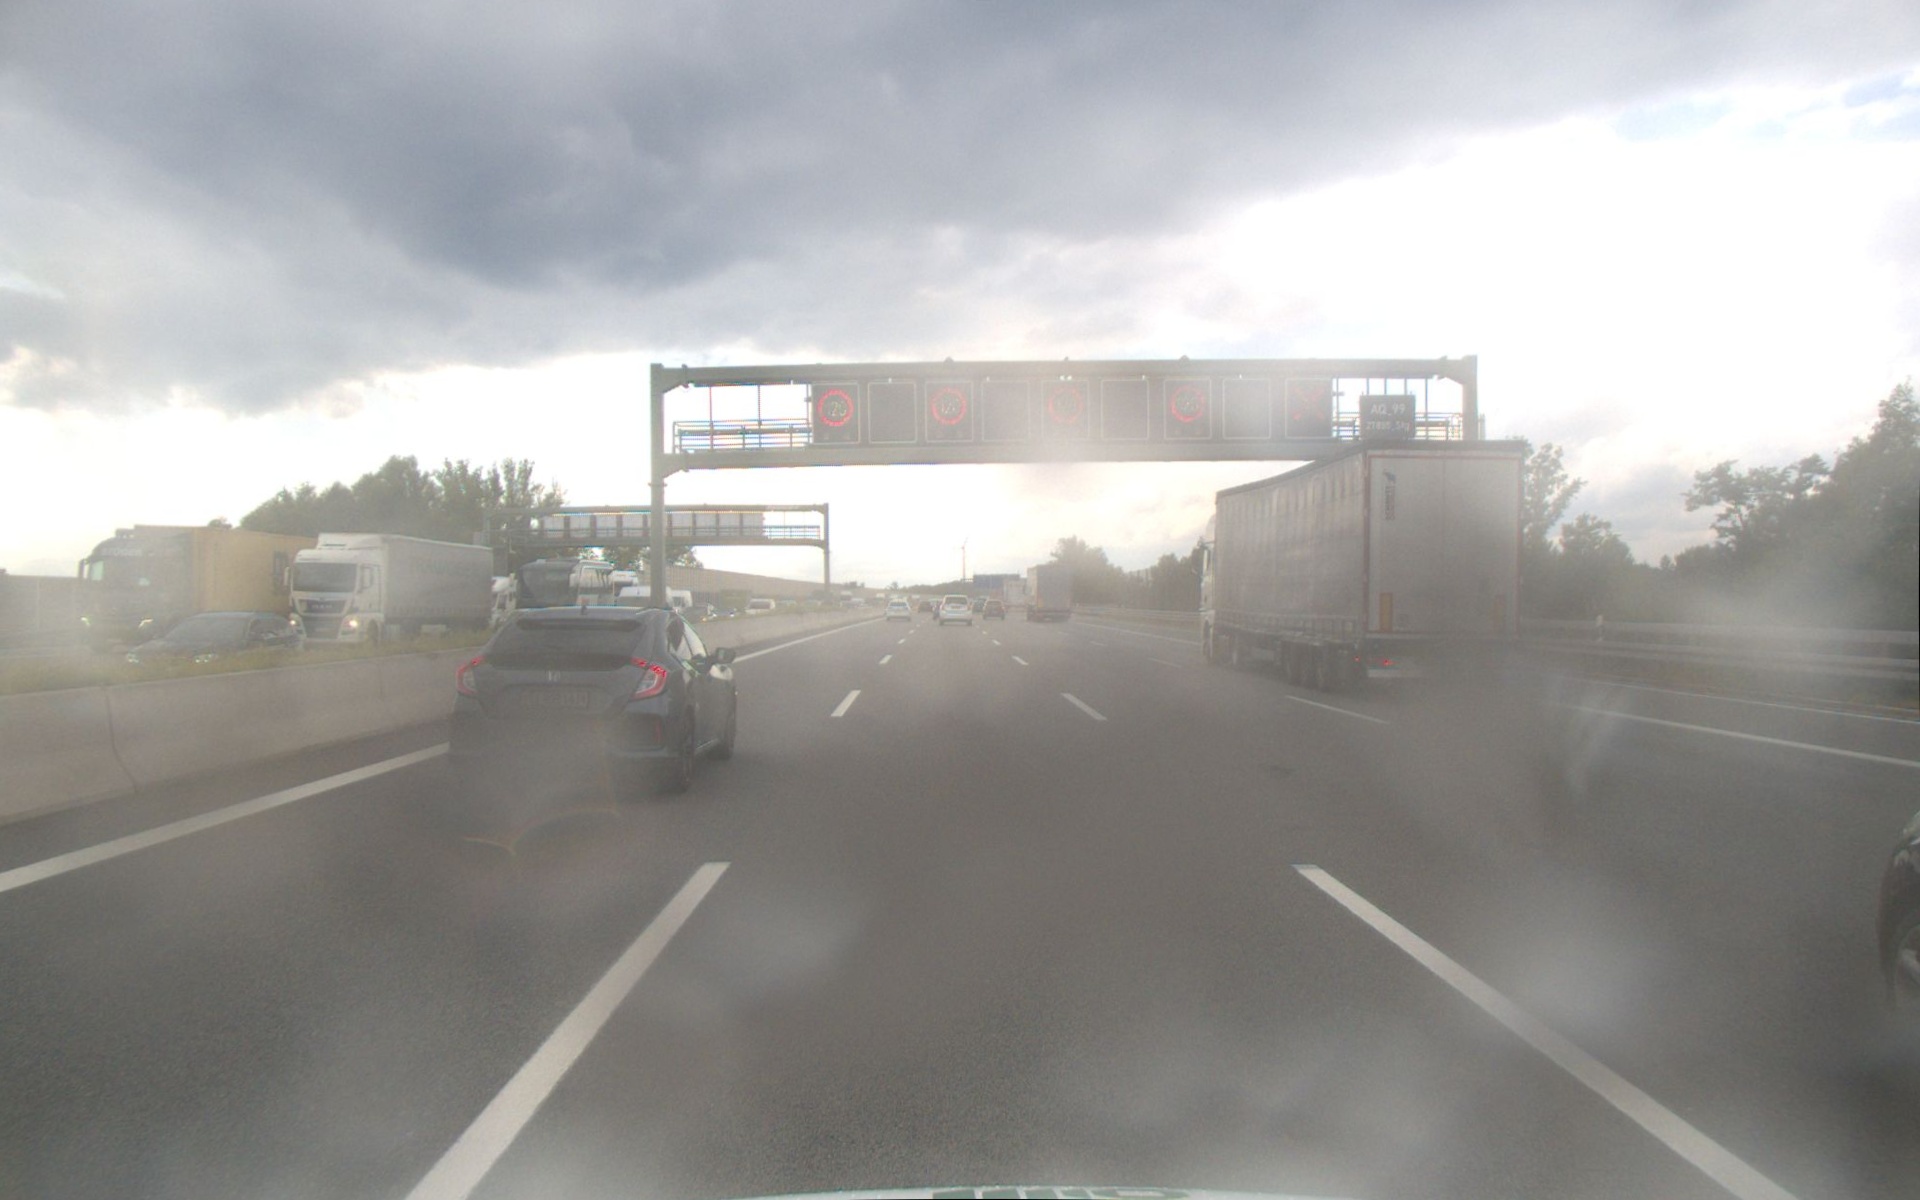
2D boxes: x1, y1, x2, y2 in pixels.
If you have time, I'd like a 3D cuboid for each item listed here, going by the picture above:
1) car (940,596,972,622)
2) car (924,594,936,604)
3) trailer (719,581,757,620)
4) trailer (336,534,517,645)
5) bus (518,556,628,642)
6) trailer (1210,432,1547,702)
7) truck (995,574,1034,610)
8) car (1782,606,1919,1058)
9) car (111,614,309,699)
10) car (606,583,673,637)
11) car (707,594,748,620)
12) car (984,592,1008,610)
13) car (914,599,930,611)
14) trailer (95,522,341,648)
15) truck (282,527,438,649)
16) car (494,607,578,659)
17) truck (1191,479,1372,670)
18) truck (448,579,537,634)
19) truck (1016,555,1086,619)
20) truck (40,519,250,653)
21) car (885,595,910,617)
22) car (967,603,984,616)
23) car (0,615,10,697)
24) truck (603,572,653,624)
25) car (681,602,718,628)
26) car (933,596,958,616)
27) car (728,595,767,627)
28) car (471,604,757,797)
[{"bbox_3d":[-0.254,0.489,97.714,1.737,1.466,4.053,1,0,-3],"label":"car"},{"bbox_3d":[-4.557,-0.094,253.531,1.736,1.466,4.054,1,0,-1],"label":"car"},{"bbox_3d":[-18.720,0.017,139.706,2.399,3.193,6.050,0,0,0],"label":"trailer"},{"bbox_3d":[-21.497,-0.394,67.866,2.827,4.031,14.297,1,0,0],"label":"trailer"},{"bbox_3d":[-17.846,-0.023,77.030,2.599,3.744,10.633,0,0,0],"label":"bus"},{"bbox_3d":[7.469,-0.550,32.359,2.901,4.090,14.117,1,0,0],"label":"trailer"},{"bbox_3d":[6.643,-0.934,203.196,4.157,4.249,11.987,1,0,-1],"label":"truck"},{"bbox_3d":[3.859,0.764,4.693,1.417,1.466,3.163,0,0,-2],"label":"car"},{"bbox_3d":[-14.086,1.010,31.370,1.751,1.406,4.588,1,0,-2],"label":"car"},{"bbox_3d":[-14.822,0.441,76.826,2.093,2.393,5.708,1,0,-2],"label":"car"},{"bbox_3d":[-18.730,0.551,133.583,2.399,2.087,6.193,0,0,0],"label":"car"},{"bbox_3d":[2.912,0.070,134.579,1.798,1.466,4.054,1,0,-1],"label":"car"},{"bbox_3d":[-4.524,0.600,197.711,1.737,1.466,4.053,1,0,-3],"label":"car"},{"bbox_3d":[-26.088,-0.438,59.199,2.967,4.002,12.973,0,0,0],"label":"trailer"},{"bbox_3d":[-21.428,-0.409,59.559,2.827,4.031,7.535,1,0,0],"label":"truck"},{"bbox_3d":[-13.741,1.048,53.821,1.701,1.566,4.375,1,0,-2],"label":"car"},{"bbox_3d":[7.401,-0.577,39.016,2.901,4.090,6.588,1,0,0],"label":"truck"},{"bbox_3d":[-25.491,0.379,90.612,2.636,2.863,7.833,0,0,0],"label":"truck"},{"bbox_3d":[6.656,-0.941,123.022,4.095,4.363,12.608,1,0,-2],"label":"truck"},{"bbox_3d":[-26.086,-0.417,53.434,2.967,4.002,7.710,0,0,0],"label":"truck"},{"bbox_3d":[-4.417,0.416,116.733,1.737,1.466,3.872,1,0,-2],"label":"car"},{"bbox_3d":[1.818,1.108,192.715,1.798,1.466,4.054,1,0,-1],"label":"car"},{"bbox_3d":[-17.257,0.948,26.162,1.751,1.406,4.859,1,0,-2],"label":"car"},{"bbox_3d":[-25.943,-0.170,129.390,2.696,3.955,6.050,0,0,0],"label":"truck"},{"bbox_3d":[-14.341,0.827,91.182,1.581,1.412,3.327,0,0,-2],"label":"car"},{"bbox_3d":[-1.134,0.483,126.529,1.737,1.466,4.053,1,0,-3],"label":"car"},{"bbox_3d":[-15.590,0.806,121.493,2.184,2.276,5.512,0,0,0],"label":"car"},{"bbox_3d":[-2.917,0.765,15.005,1.725,1.393,5.057,1,0,-3],"label":"car"}]
